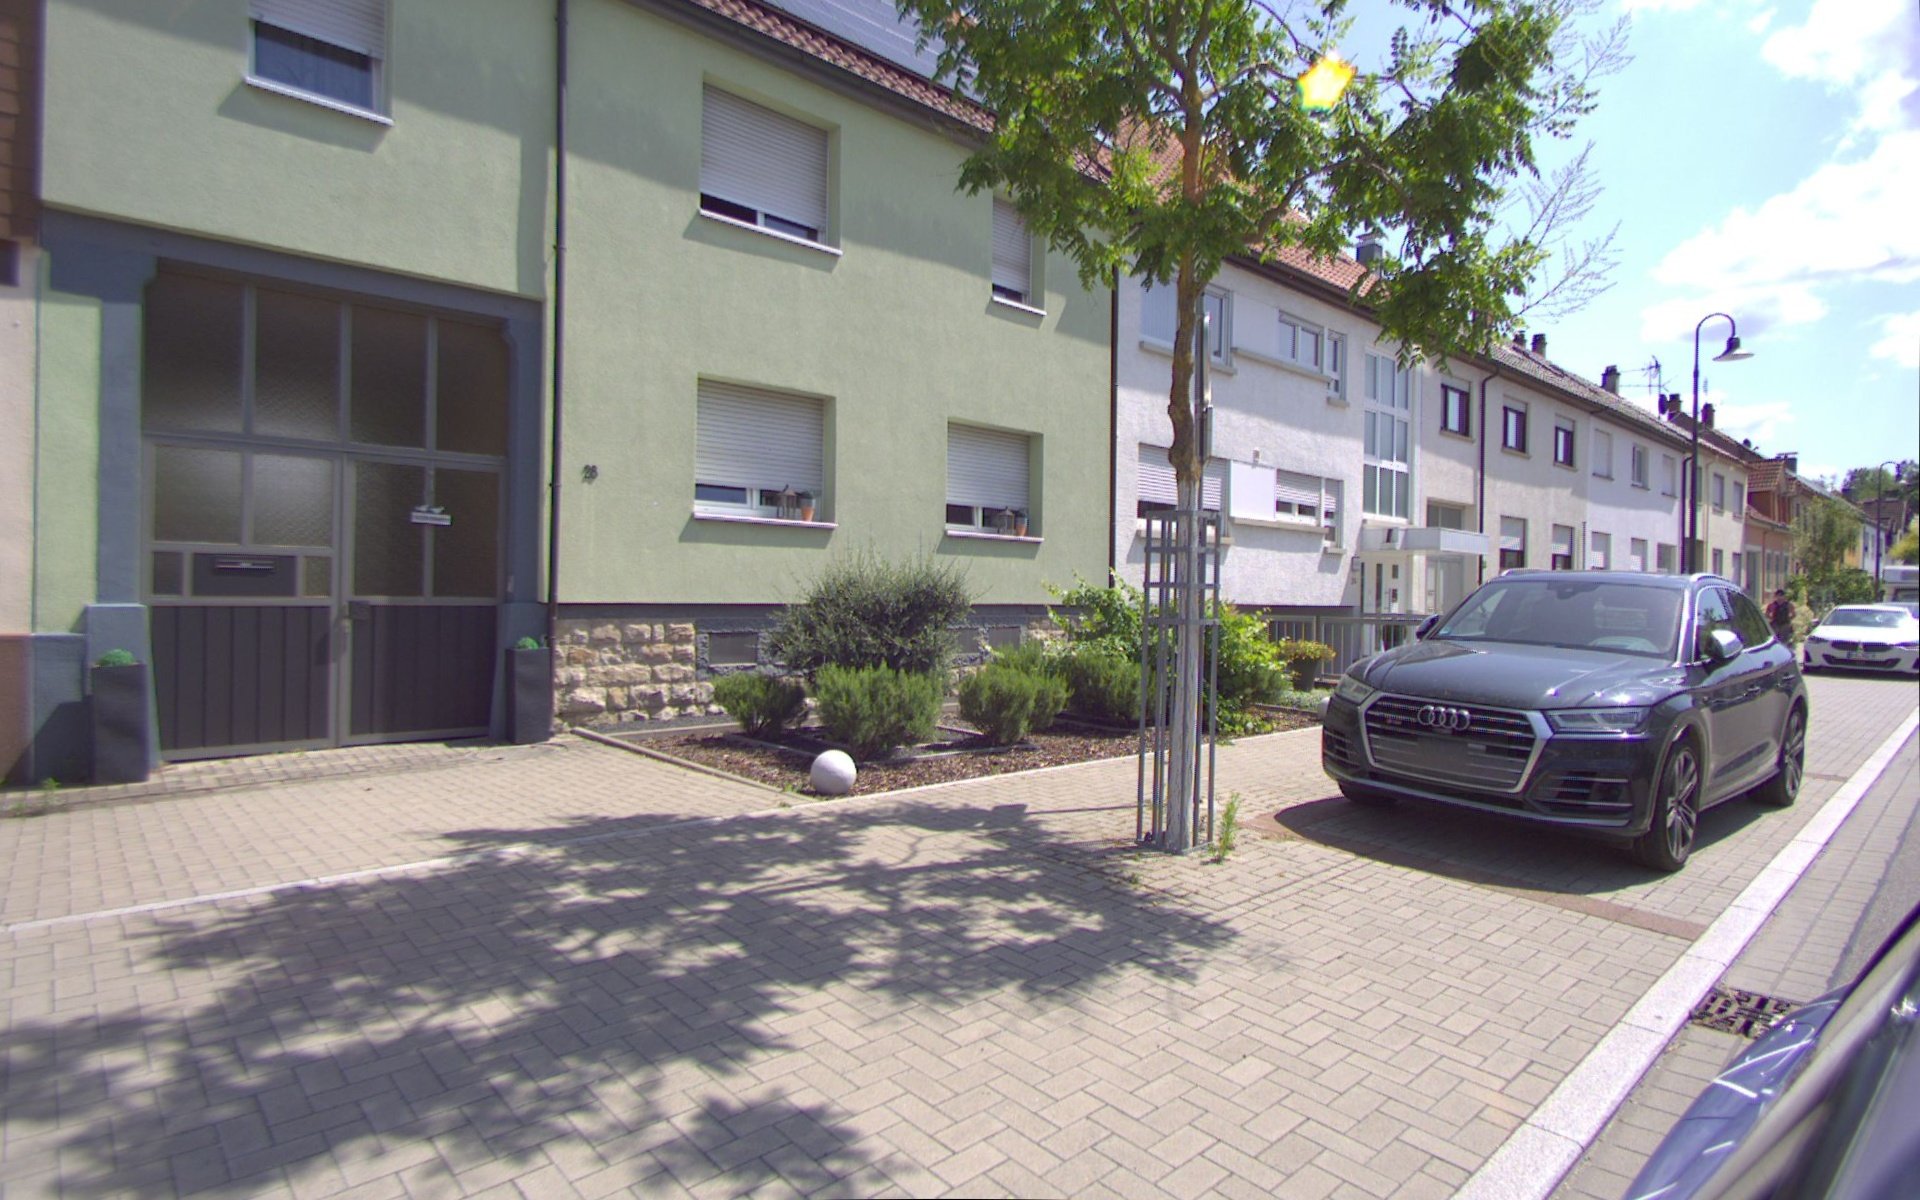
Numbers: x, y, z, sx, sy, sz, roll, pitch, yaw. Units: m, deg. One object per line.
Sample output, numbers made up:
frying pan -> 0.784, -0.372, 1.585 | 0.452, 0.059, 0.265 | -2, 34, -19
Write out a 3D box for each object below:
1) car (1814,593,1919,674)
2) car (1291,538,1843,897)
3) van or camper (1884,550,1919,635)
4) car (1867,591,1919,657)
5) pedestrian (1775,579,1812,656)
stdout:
car -> 18.996, 0.618, 20.789 | 4.446, 1.484, 1.833 | 0, 1, -45
car -> 4.308, 0.533, 6.870 | 4.368, 1.655, 1.868 | 1, 3, -41
van or camper -> 34.794, -0.218, 35.915 | 5.693, 2.845, 2.476 | 0, 2, -43
car -> 24.216, 0.573, 25.430 | 3.939, 1.549, 1.769 | 0, 1, -43
pedestrian -> 19.510, 0.400, 23.690 | 0.661, 1.770, 0.558 | 0, 2, -42
